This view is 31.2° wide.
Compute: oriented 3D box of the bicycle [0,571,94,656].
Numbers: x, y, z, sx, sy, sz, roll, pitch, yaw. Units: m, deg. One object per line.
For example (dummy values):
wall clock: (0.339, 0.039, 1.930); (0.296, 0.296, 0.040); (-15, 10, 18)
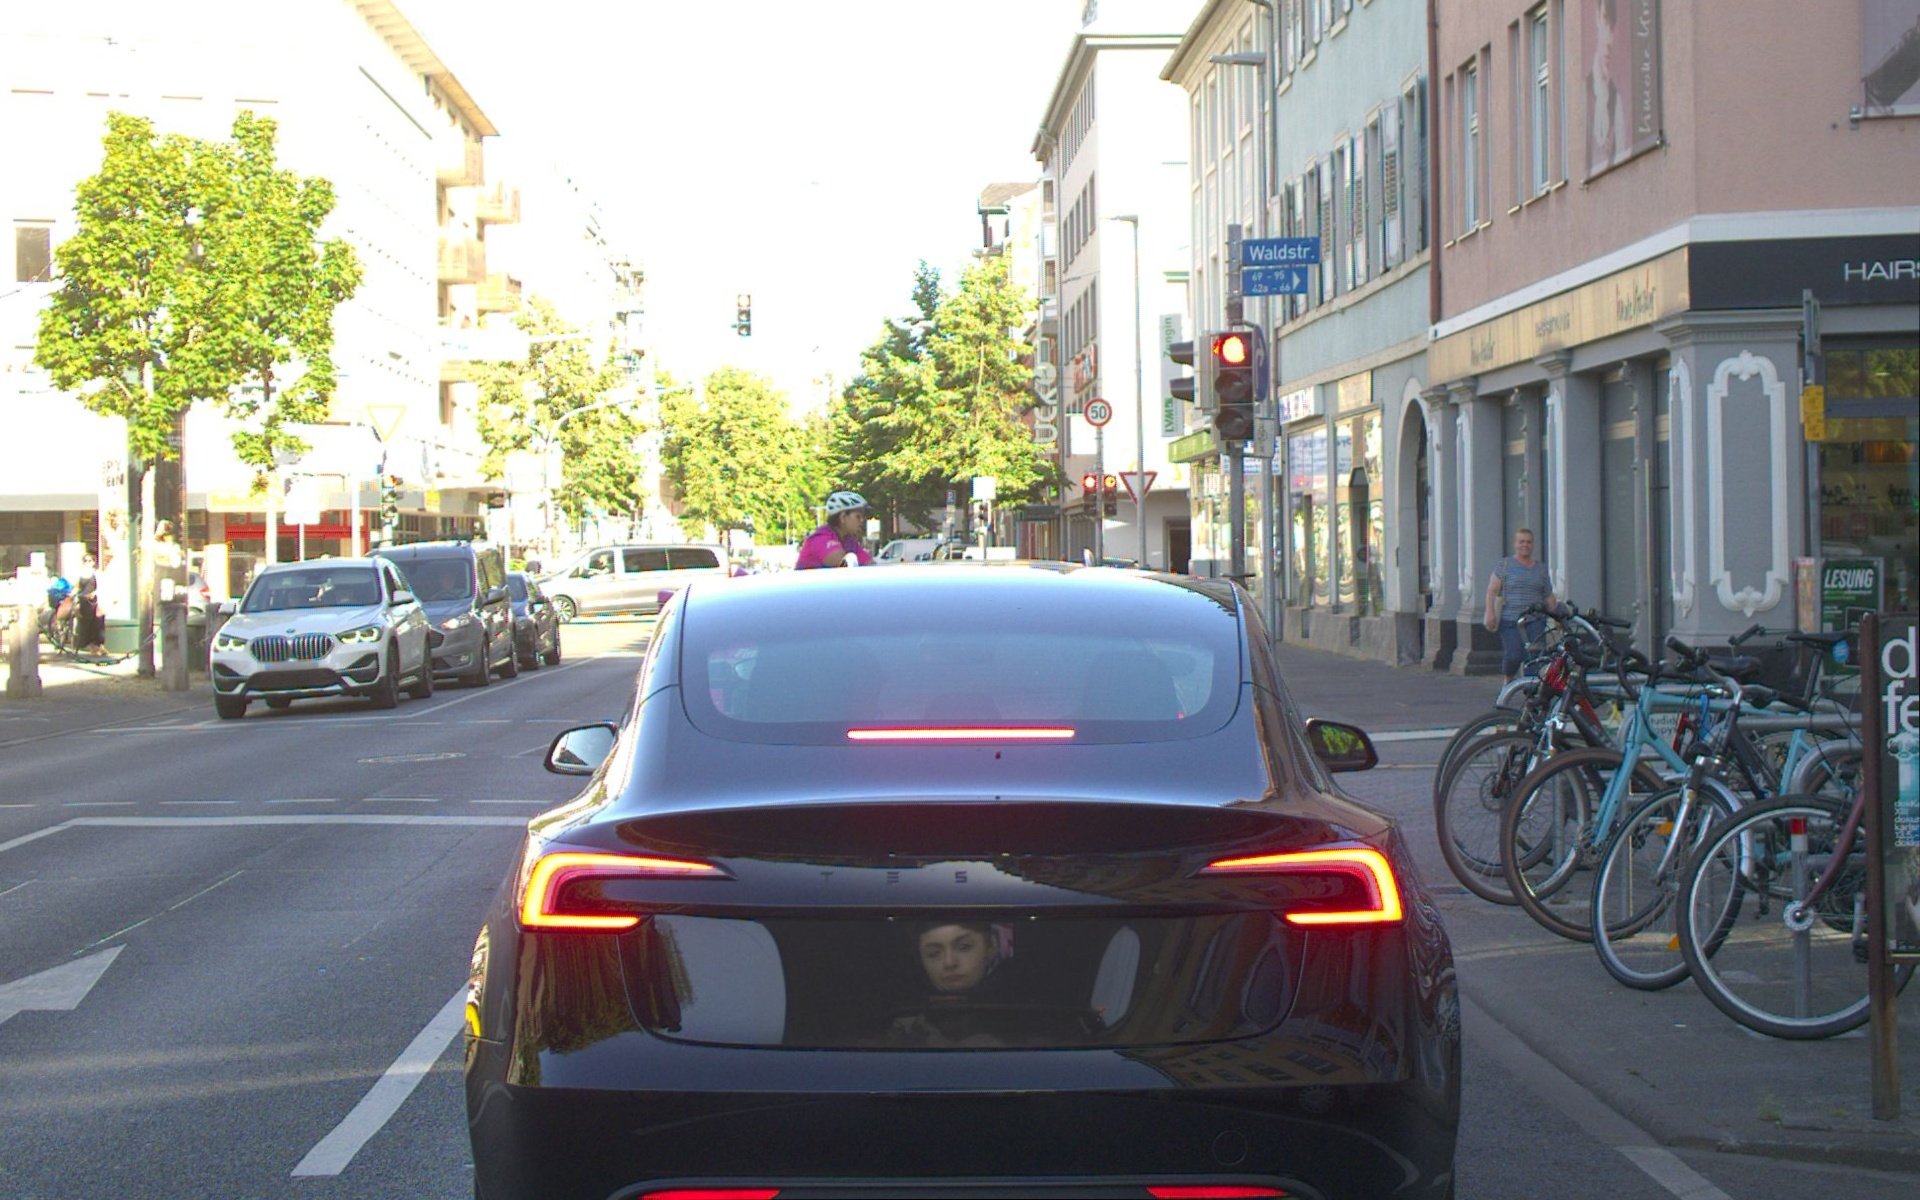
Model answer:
bicycle: (-14.531, 0.192, 52.155); (2.542, 1.247, 0.943); (1, 0, -3)

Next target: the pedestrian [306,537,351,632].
pedestrian: (-11.733, -0.284, 63.873); (0.658, 1.754, 0.654); (1, 0, -26)

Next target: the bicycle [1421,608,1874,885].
bicycle: (2.926, 0.613, 14.751); (1.813, 1.148, 0.653); (0, 1, 1)

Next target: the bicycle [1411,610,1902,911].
bicycle: (2.735, 0.621, 13.617); (1.813, 1.148, 0.653); (0, 1, 1)

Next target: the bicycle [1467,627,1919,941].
bicycle: (2.804, 0.658, 12.543); (1.813, 1.098, 0.653); (0, 1, 1)

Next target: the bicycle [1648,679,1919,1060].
bicycle: (3.030, 0.760, 10.065); (1.882, 1.040, 0.653); (-1, 1, 1)

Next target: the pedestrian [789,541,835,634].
pedestrian: (-2.811, -0.237, 65.372); (0.658, 1.754, 0.654); (1, 0, -24)

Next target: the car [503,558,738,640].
car: (-7.982, -0.048, 80.832); (5.195, 1.860, 1.884); (0, 1, -22)

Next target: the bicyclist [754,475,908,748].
bicyclist: (-0.844, 0.078, 22.656); (0.864, 1.749, 0.681); (-2, -1, 8)

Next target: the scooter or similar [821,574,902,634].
scooter or similar: (-1.885, 0.080, 65.827); (1.333, 1.131, 0.810); (1, 0, -24)

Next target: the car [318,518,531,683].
car: (-6.570, -0.034, 42.678); (1.945, 1.940, 4.820); (0, 1, -1)

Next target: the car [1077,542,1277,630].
car: (4.711, -0.324, 74.690); (3.992, 1.861, 1.698); (0, 1, -21)

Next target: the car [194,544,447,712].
car: (-6.684, 0.256, 36.355); (1.825, 1.559, 4.301); (-4, 1, -1)

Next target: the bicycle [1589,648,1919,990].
bicycle: (3.003, 0.694, 11.137); (1.813, 1.056, 0.653); (0, 1, 1)

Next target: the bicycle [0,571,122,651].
bicycle: (-14.692, 0.165, 54.579); (2.542, 1.247, 0.943); (1, 0, -3)

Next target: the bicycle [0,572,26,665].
bicycle: (-14.484, 0.237, 47.561); (2.875, 1.266, 0.943); (1, 0, -3)

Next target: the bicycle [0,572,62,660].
bicycle: (-14.486, 0.220, 49.880); (2.662, 1.255, 0.943); (1, 0, -3)

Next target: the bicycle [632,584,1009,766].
bicycle: (-0.909, 0.488, 22.663); (2.390, 1.147, 0.713); (-1, 2, 6)

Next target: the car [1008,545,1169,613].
car: (3.426, -0.564, 91.090); (3.995, 1.782, 2.041); (0, 1, 11)

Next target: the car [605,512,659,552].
car: (-17.125, -3.539, 179.656); (2.275, 2.007, 4.717); (1, 1, 1)

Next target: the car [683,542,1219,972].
car: (-0.056, 0.525, 14.213); (1.850, 1.476, 4.452); (1, 1, -1)

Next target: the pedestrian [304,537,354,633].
pedestrian: (-11.611, -0.279, 63.218); (0.844, 1.754, 0.707); (1, 0, -14)

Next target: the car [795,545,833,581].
car: (-7.569, -1.911, 178.649); (1.892, 1.807, 3.925); (1, 1, -2)

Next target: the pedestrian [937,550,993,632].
pedestrian: (0.099, -0.183, 68.163); (0.806, 1.604, 0.709); (0, 1, -37)

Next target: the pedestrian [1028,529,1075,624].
pedestrian: (1.831, -0.468, 68.738); (0.708, 1.870, 0.808); (1, 0, 20)

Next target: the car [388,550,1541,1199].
car: (-0.020, 0.630, 7.789); (1.850, 1.442, 4.452); (1, 1, -1)

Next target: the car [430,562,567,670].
car: (-6.651, 0.206, 49.812); (1.461, 1.425, 3.606); (-4, 1, -1)

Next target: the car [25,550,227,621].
car: (-18.471, -0.335, 76.132); (4.119, 1.525, 1.552); (0, 1, -25)

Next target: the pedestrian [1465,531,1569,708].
pedestrian: (4.937, 0.168, 30.525); (0.789, 1.544, 0.724); (1, 0, 0)

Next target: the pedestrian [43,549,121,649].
pedestrian: (-14.286, -0.025, 55.903); (1.092, 1.606, 1.267); (1, 0, -20)

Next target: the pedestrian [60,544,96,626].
pedestrian: (-16.299, -0.279, 63.553); (0.624, 1.518, 0.579); (1, 0, -14)

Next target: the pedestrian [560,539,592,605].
pedestrian: (-10.843, -0.798, 97.028); (0.732, 1.861, 0.791); (1, 0, -17)

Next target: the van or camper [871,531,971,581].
van or camper: (-1.900, -2.137, 167.563); (4.850, 2.430, 1.851); (0, 1, -1)

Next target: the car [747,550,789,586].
car: (-10.442, -1.744, 187.149); (2.132, 1.963, 4.134); (0, 1, -1)
